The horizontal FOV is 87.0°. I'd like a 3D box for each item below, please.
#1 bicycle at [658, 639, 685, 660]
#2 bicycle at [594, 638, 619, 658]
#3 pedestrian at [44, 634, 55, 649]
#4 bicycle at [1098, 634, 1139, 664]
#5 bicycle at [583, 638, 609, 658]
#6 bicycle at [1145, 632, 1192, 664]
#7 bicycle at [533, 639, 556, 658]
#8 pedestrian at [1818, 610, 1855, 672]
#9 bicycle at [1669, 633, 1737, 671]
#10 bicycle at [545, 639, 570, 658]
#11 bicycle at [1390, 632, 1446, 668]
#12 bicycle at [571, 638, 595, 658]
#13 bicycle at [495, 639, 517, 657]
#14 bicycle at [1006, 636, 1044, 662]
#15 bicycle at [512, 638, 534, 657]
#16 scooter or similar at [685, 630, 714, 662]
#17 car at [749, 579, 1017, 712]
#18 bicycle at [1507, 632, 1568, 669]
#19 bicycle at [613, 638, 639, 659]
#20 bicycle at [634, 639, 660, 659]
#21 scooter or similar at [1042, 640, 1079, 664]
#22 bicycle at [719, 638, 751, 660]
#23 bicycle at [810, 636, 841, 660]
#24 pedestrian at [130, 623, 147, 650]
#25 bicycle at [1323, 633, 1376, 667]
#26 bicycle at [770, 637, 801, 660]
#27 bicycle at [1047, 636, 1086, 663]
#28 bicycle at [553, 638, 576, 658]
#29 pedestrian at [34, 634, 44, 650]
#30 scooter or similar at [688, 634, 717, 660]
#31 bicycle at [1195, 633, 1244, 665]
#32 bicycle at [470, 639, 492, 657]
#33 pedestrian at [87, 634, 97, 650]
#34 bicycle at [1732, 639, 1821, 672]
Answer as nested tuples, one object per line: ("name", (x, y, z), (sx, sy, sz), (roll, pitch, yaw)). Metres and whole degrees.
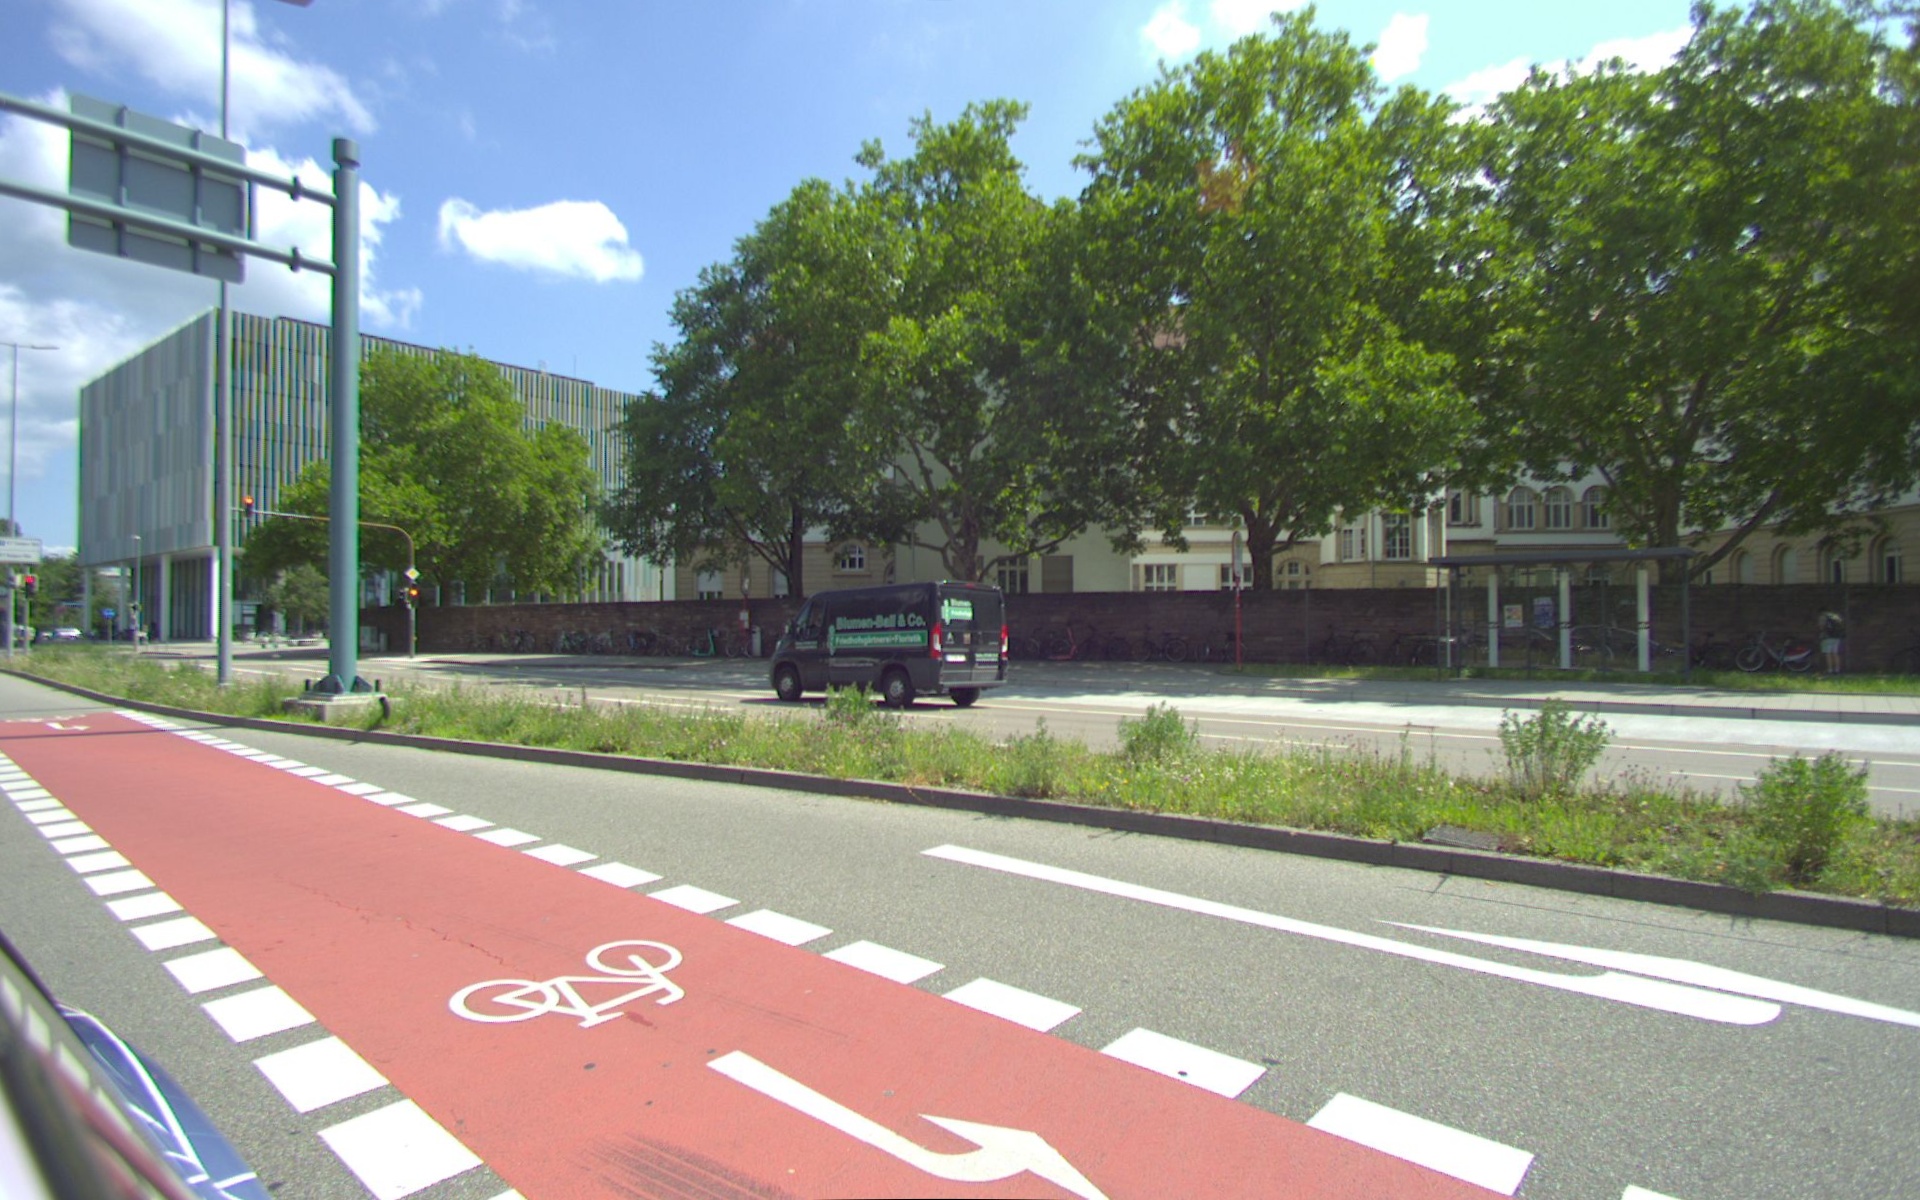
("bicycle", (-11.578, 1.967, 40.579), (1.231, 0.837, 0.262), (-2, -2, 30))
("bicycle", (-14.994, 2.016, 42.878), (1.231, 0.837, 0.262), (-2, -2, 30))
("pedestrian", (-88.736, 4.051, 98.636), (0.686, 1.464, 0.689), (1, -3, -45))
("bicycle", (4.935, 1.522, 31.595), (1.230, 0.915, 0.262), (-1, -2, 28))
("bicycle", (-15.321, 2.005, 42.591), (1.230, 0.837, 0.262), (-1, -2, 29))
("bicycle", (6.390, 1.476, 31.035), (1.385, 0.972, 0.263), (-1, -2, 20))
("bicycle", (-18.605, 2.163, 45.307), (1.230, 0.837, 0.262), (-1, -2, 29))
("pedestrian", (21.400, 0.989, 24.718), (0.633, 1.484, 0.504), (-2, -2, 39))
("bicycle", (19.223, 1.345, 26.195), (1.384, 0.972, 0.263), (-1, -2, 18))
("bicycle", (-17.492, 2.095, 43.964), (1.230, 0.837, 0.262), (-1, -2, 29))
("bicycle", (12.854, 1.404, 28.418), (1.384, 0.972, 0.263), (-1, -2, 18))
("bicycle", (-16.277, 2.082, 43.723), (1.231, 0.837, 0.262), (-2, -2, 30))
("bicycle", (-21.063, 2.231, 46.964), (1.231, 0.837, 0.262), (-2, -2, 30))
("bicycle", (2.122, 1.610, 33.068), (1.230, 0.837, 0.262), (-1, -2, 28))
("bicycle", (-19.963, 2.181, 46.230), (1.230, 0.837, 0.262), (-1, -2, 29))
("scooter or similar", (-10.021, 1.759, 38.872), (1.230, 1.199, 0.262), (-1, -2, 29))
("car", (-1.561, 0.871, 19.168), (5.014, 2.192, 2.126), (-2, -4, 40))
("bicycle", (15.621, 1.368, 27.388), (1.384, 0.972, 0.263), (-1, -2, 18))
("bicycle", (-13.910, 2.025, 42.130), (1.231, 0.837, 0.262), (-2, -2, 30))
("bicycle", (-12.800, 2.005, 41.378), (1.231, 0.837, 0.262), (-2, -2, 30))
("scooter or similar", (3.168, 1.628, 31.807), (1.133, 0.734, 0.264), (-1, -2, 18))
("bicycle", (-8.656, 1.886, 38.948), (1.226, 0.837, 0.263), (-1, -2, 19))
("bicycle", (-4.900, 1.741, 36.856), (1.231, 0.837, 0.262), (-1, -2, 30))
("pedestrian", (-63.168, 2.799, 77.804), (0.994, 2.029, 0.853), (-2, -2, 39))
("bicycle", (11.169, 1.426, 29.032), (1.384, 0.972, 0.263), (-1, -2, 18))
("bicycle", (-6.480, 1.810, 37.564), (1.231, 0.837, 0.262), (-1, -2, 30))
("bicycle", (3.399, 1.593, 32.456), (1.230, 0.837, 0.262), (-1, -2, 28))
("bicycle", (-17.416, 2.111, 44.558), (1.230, 0.837, 0.262), (-1, -2, 29))
("pedestrian", (-88.192, 4.029, 96.929), (0.686, 1.464, 0.689), (1, -3, -45))
("scooter or similar", (-10.154, 1.842, 39.918), (1.133, 1.028, 0.264), (-1, -2, 19))
("bicycle", (7.797, 1.469, 30.415), (1.389, 0.972, 0.262), (-1, -2, 28))
("bicycle", (-22.702, 2.260, 47.956), (1.231, 0.837, 0.262), (-2, -2, 30))
("pedestrian", (-79.076, 3.835, 92.197), (0.686, 1.464, 0.689), (1, -2, -45))
("bicycle", (20.735, 1.404, 25.721), (1.734, 0.823, 0.327), (-1, -2, 18))
